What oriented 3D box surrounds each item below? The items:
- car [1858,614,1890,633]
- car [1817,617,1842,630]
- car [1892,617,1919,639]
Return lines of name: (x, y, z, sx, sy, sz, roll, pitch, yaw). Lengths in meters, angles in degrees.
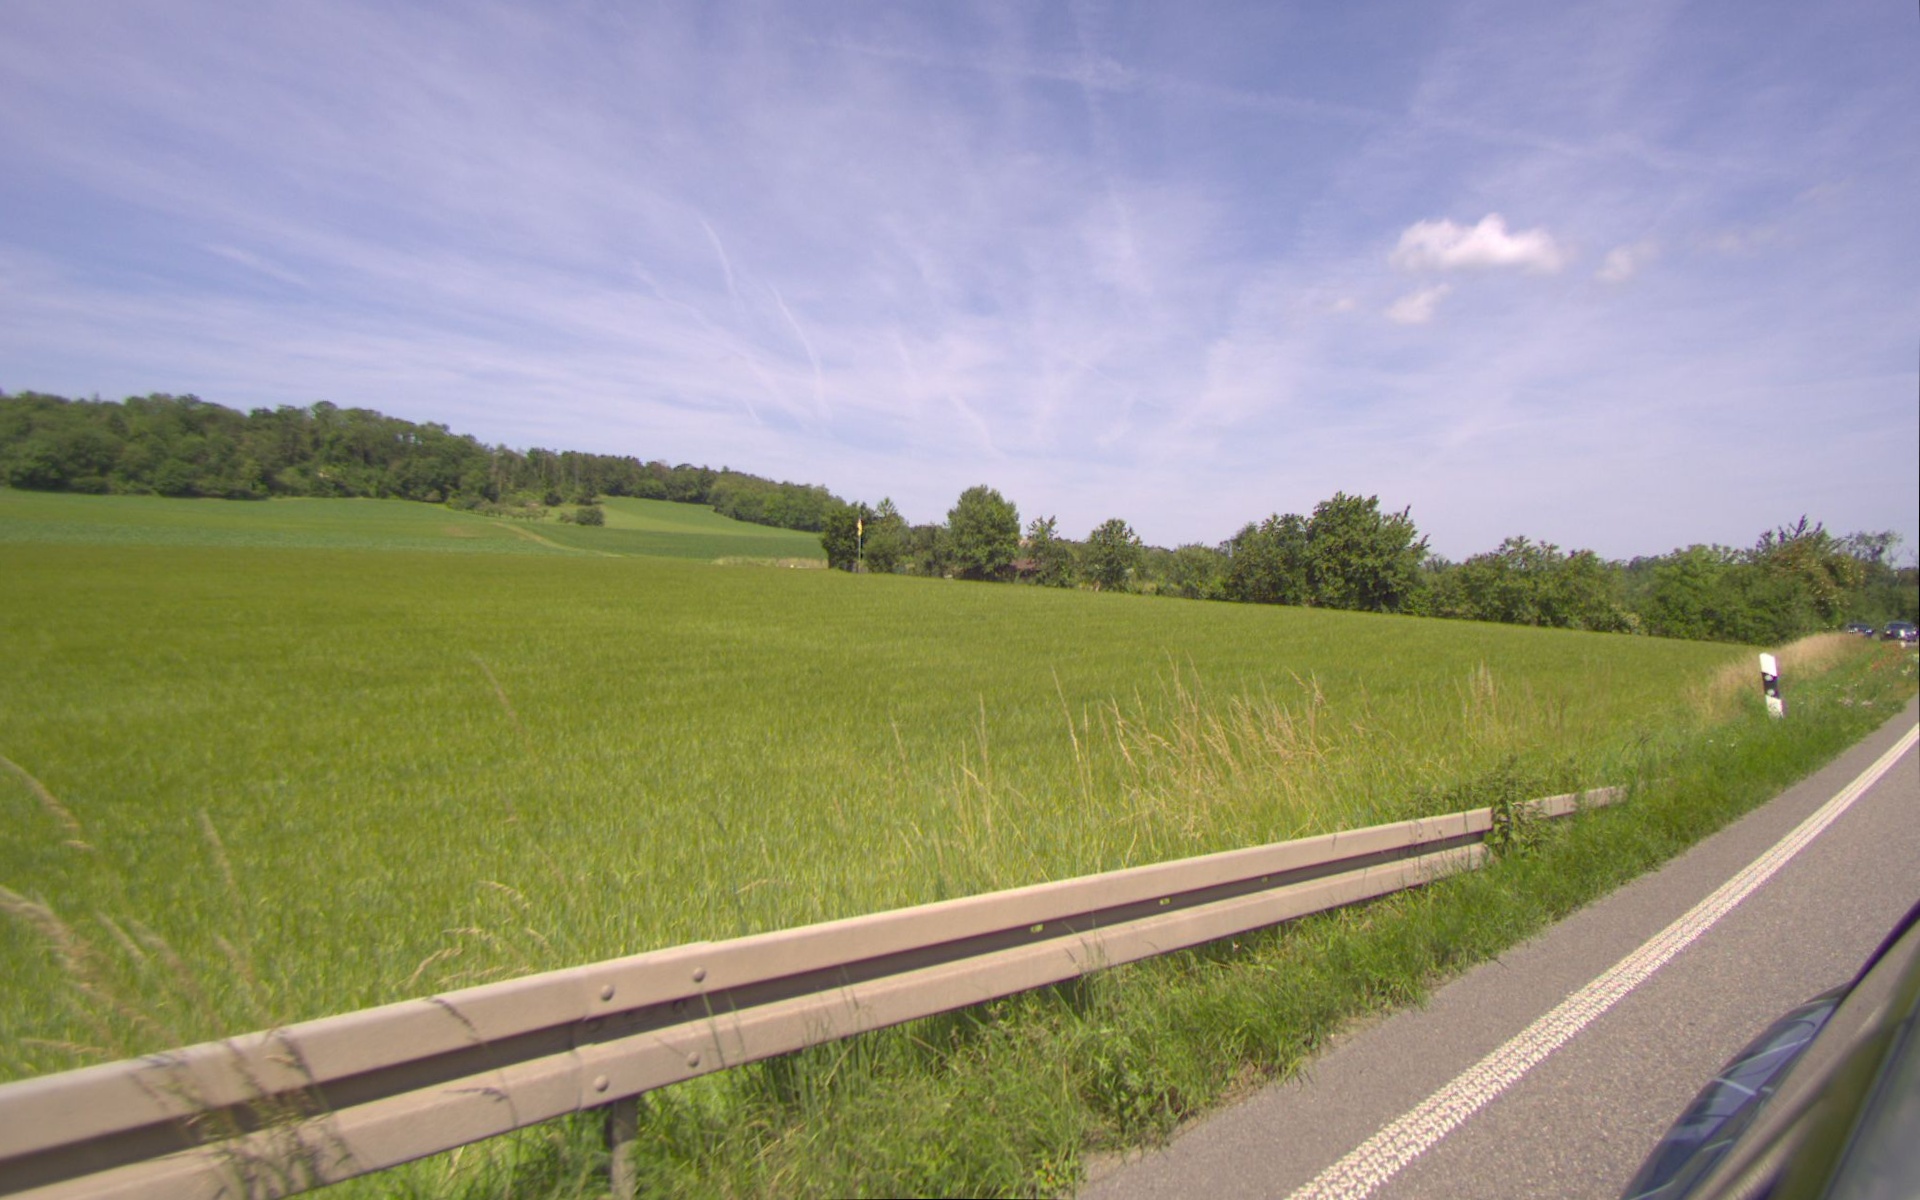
car: (82.745, 2.123, 91.652, 1.922, 1.468, 3.943, 3, 2, 39)
car: (116.217, 3.120, 135.318, 1.916, 1.647, 3.952, 0, -1, 33)
car: (70.690, 2.101, 75.244, 1.923, 1.468, 4.016, 3, 2, 41)
